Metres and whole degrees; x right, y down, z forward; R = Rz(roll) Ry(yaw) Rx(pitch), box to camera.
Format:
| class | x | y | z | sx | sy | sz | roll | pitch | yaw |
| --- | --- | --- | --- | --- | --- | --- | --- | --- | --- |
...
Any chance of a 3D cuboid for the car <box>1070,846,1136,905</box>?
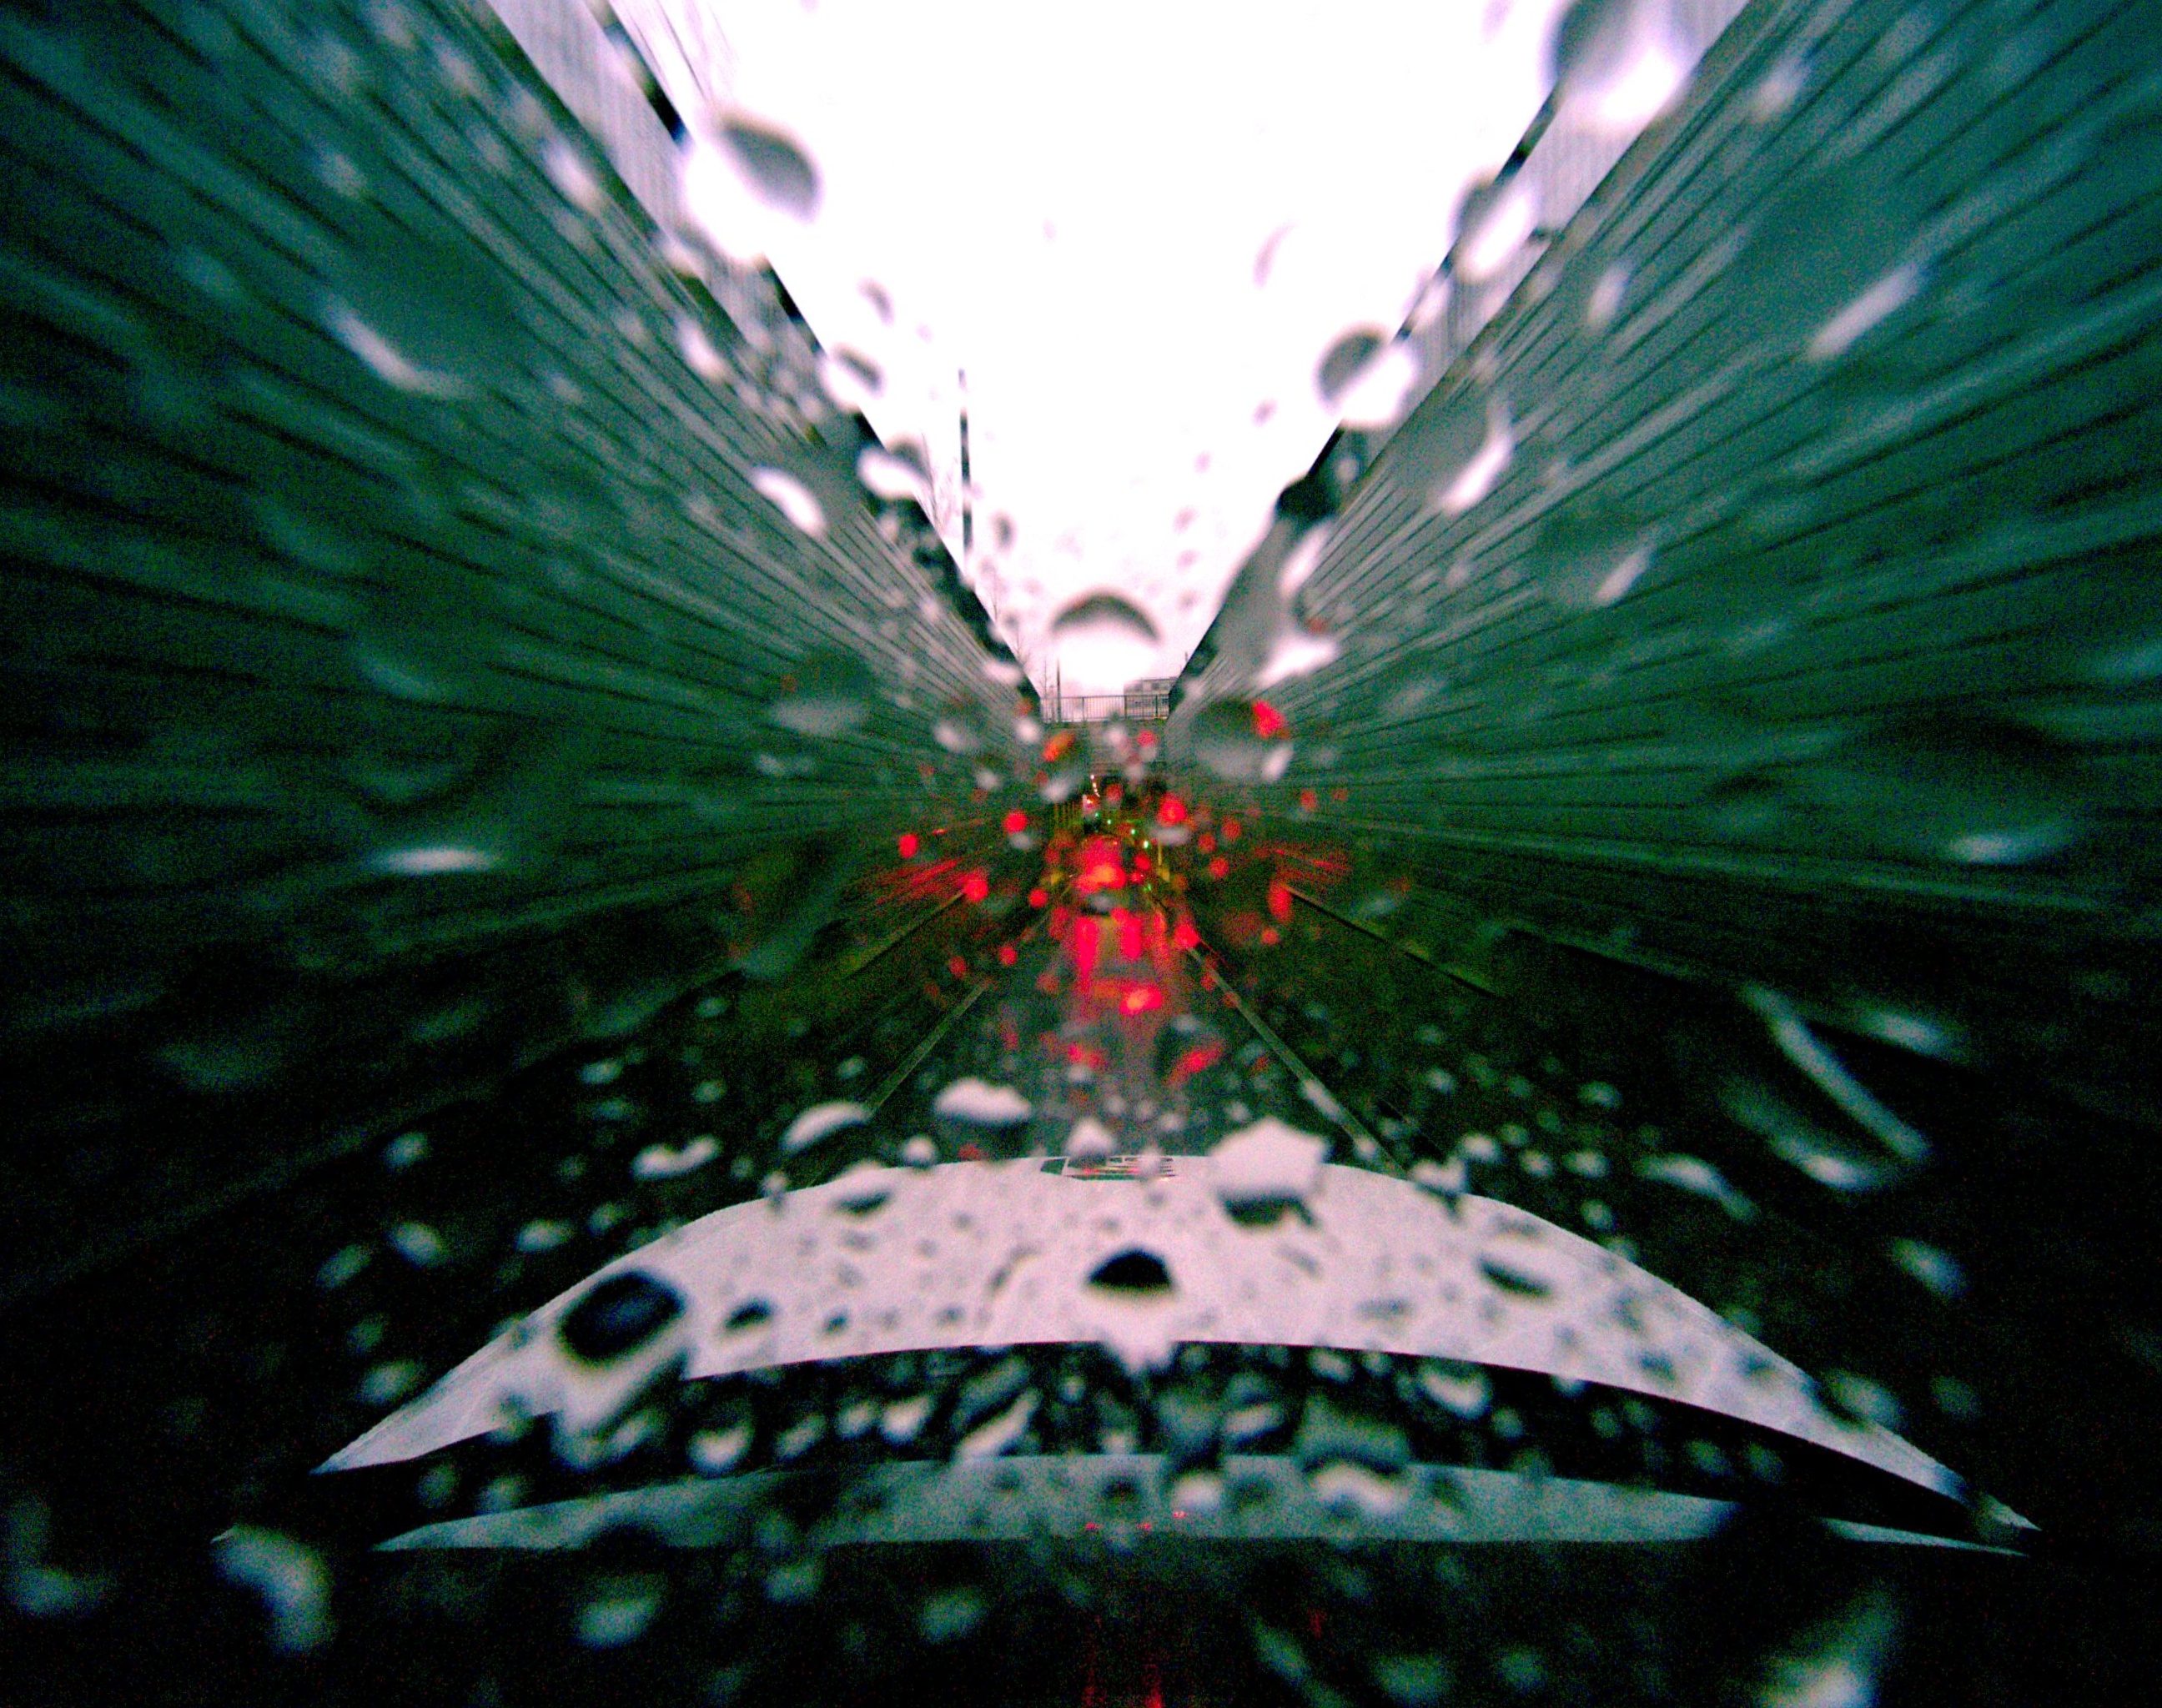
| class | x | y | z | sx | sy | sz | roll | pitch | yaw |
| --- | --- | --- | --- | --- | --- | --- | --- | --- | --- |
| car | 0.693 | 0.547 | 23.395 | 1.715 | 1.479 | 4.004 | 1 | 1 | 3 |

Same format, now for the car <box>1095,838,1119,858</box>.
| class | x | y | z | sx | sy | sz | roll | pitch | yaw |
| --- | --- | --- | --- | --- | --- | --- | --- | --- | --- |
| car | 2.213 | -0.563 | 69.666 | 1.913 | 1.485 | 4.001 | 1 | 3 | 0 |
